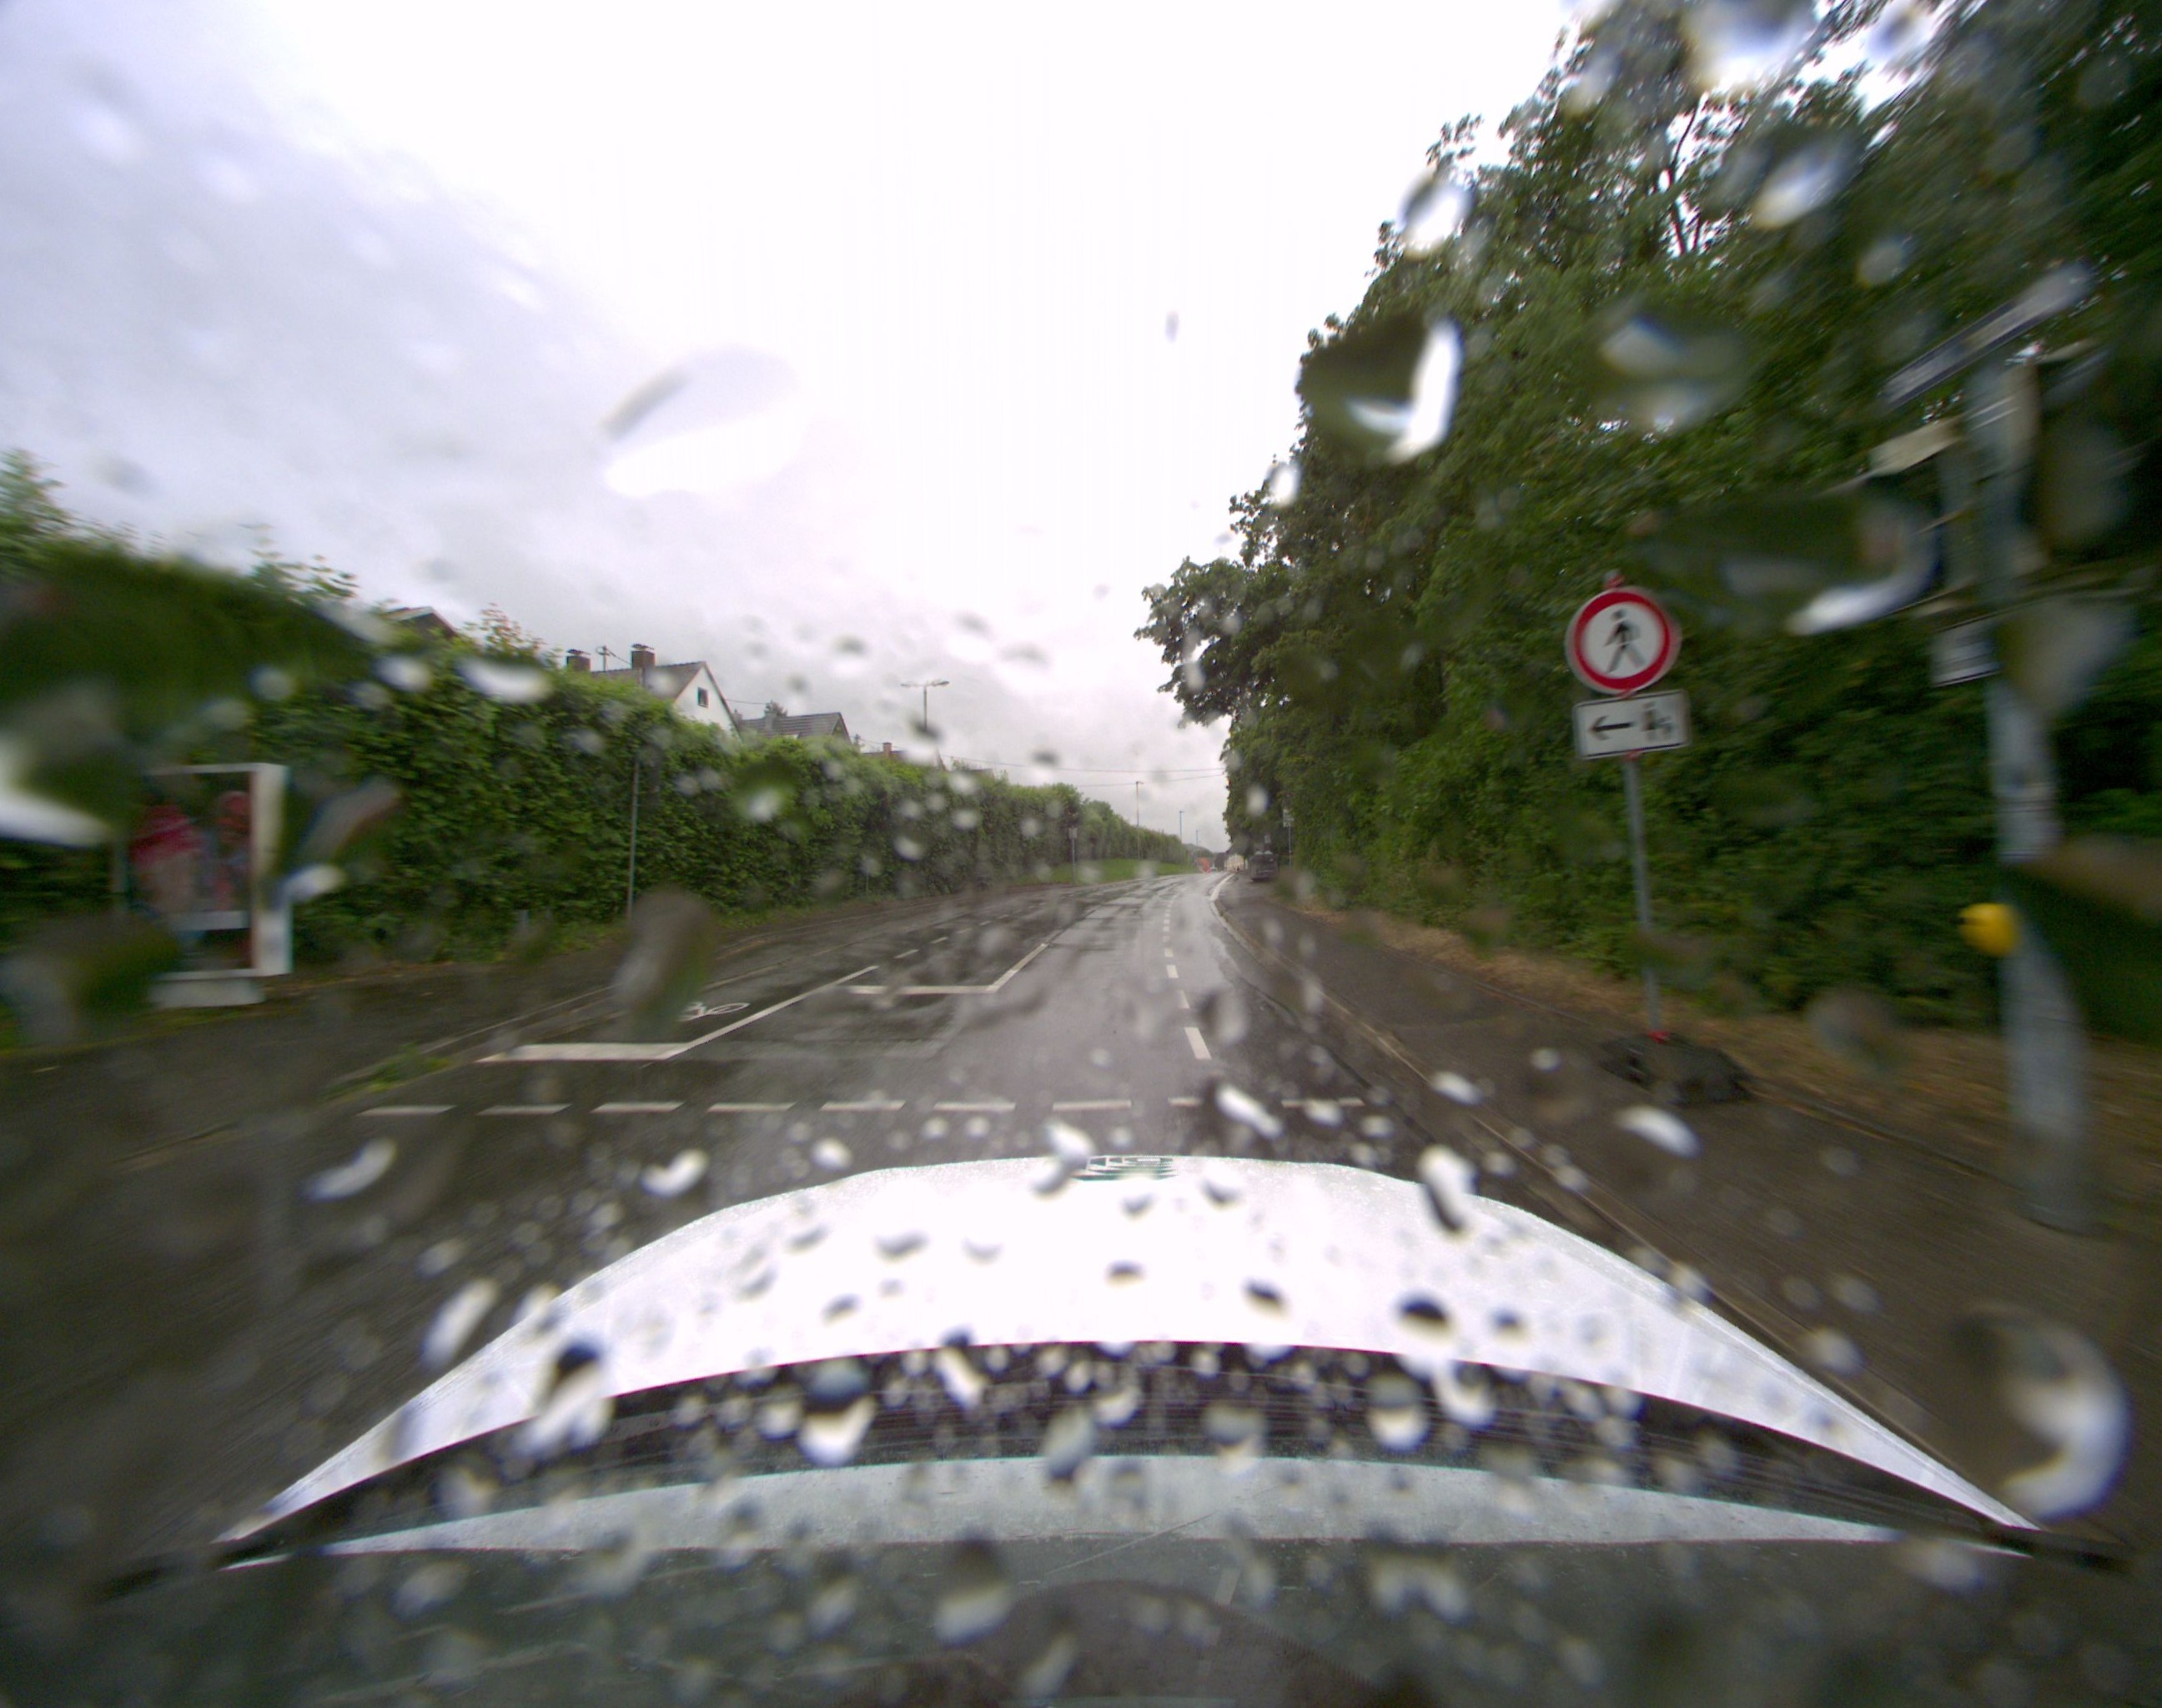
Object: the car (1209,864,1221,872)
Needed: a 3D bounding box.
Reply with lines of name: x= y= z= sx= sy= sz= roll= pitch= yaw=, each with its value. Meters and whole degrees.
car: x=27.846 y=2.860 z=168.934 sx=1.986 sy=1.611 sz=4.002 roll=0 pitch=1 yaw=2
